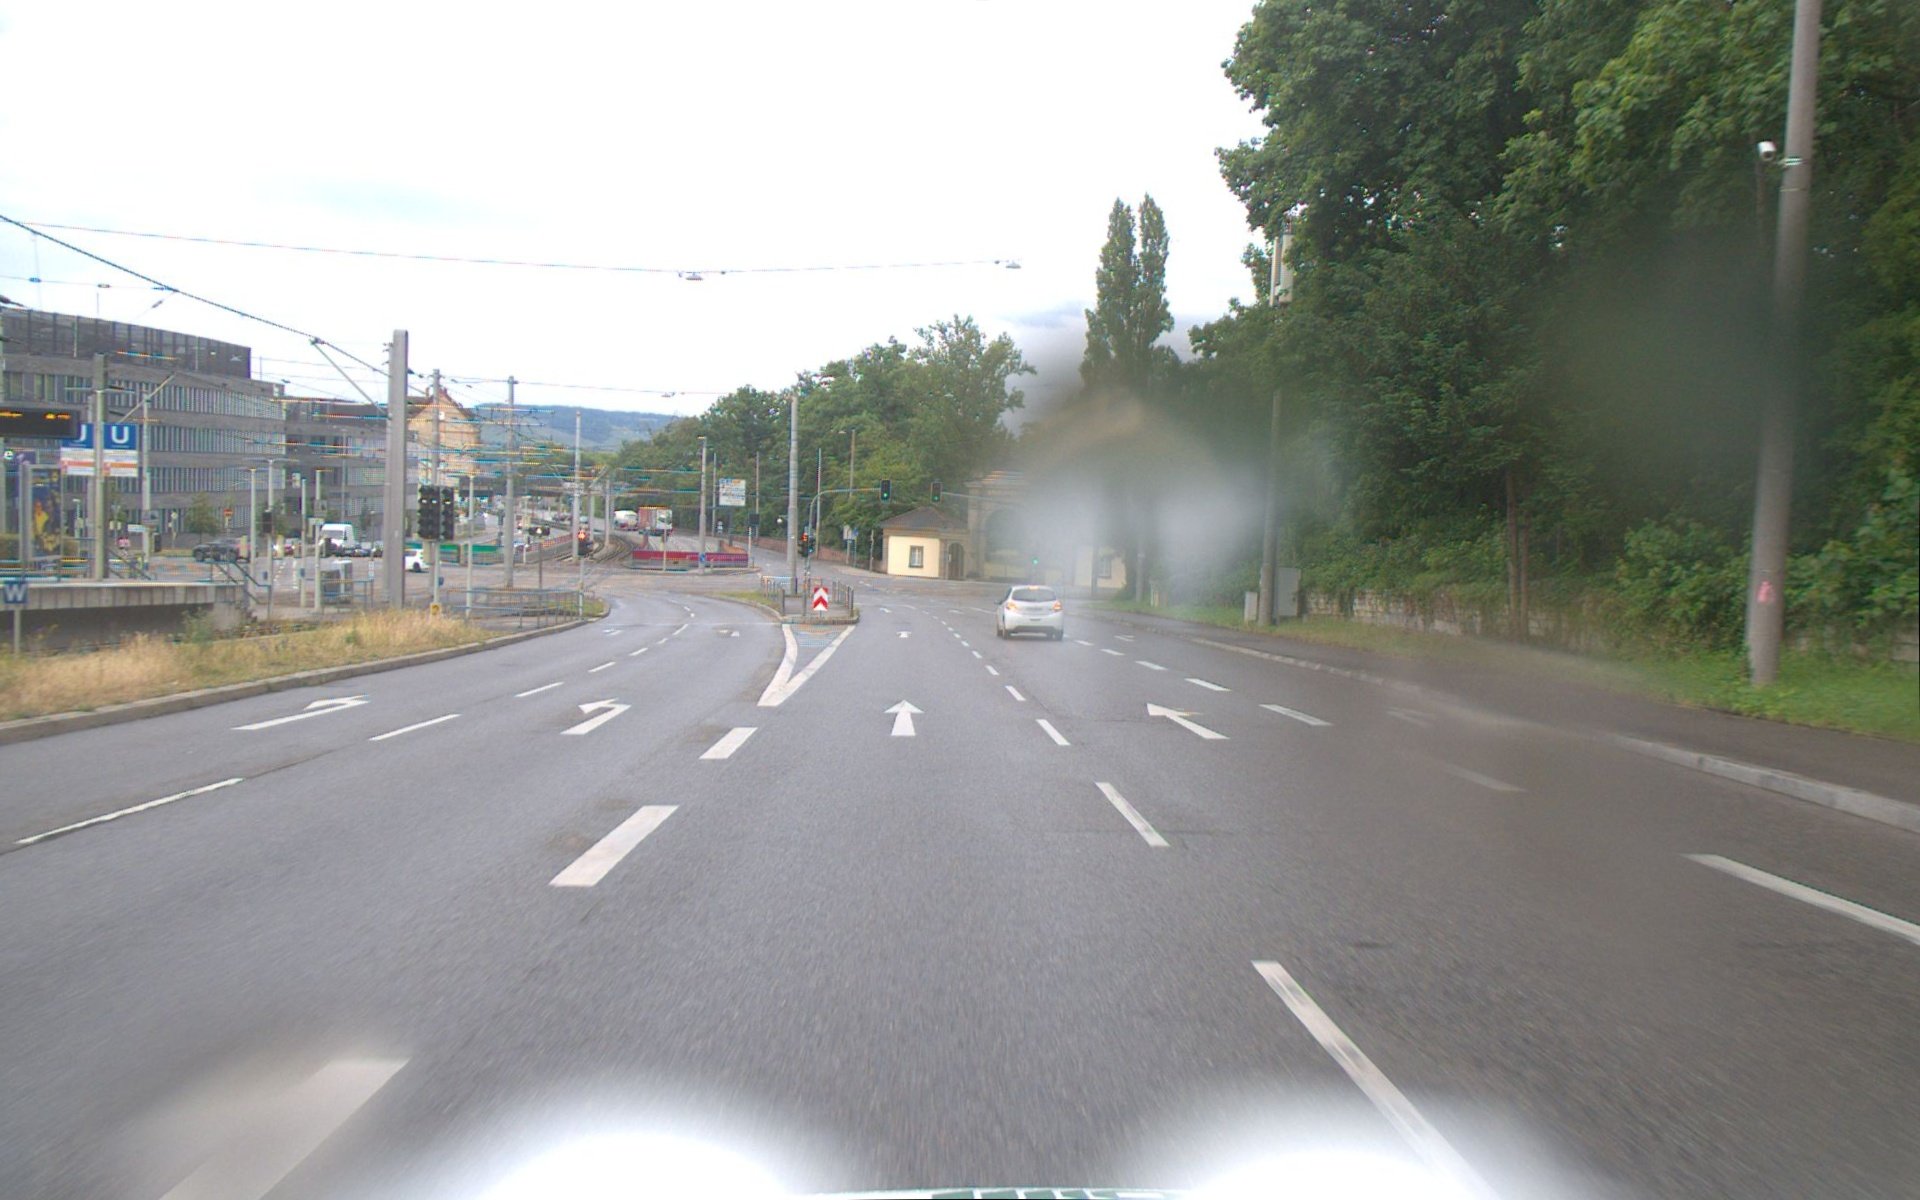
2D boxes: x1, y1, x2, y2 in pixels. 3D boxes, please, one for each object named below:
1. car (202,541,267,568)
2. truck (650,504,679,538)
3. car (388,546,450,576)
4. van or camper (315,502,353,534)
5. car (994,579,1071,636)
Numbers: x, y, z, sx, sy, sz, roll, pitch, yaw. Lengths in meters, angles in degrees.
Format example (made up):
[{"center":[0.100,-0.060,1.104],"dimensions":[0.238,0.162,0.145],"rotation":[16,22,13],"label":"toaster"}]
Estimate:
[{"center":[-50.011,-3.155,113.968],"dimensions":[3.907,1.735,1.999],"rotation":[2,1,24],"label":"car"},{"center":[-44.537,-11.866,249.203],"dimensions":[3.357,4.649,11.247],"rotation":[4,1,-14],"label":"truck"},{"center":[-34.998,-2.526,106.936],"dimensions":[3.921,1.633,1.822],"rotation":[6,3,35],"label":"car"},{"center":[-49.621,-6.464,131.186],"dimensions":[1.957,2.385,3.992],"rotation":[-1,1,-9],"label":"van or camper"},{"center":[1.996,0.184,46.516],"dimensions":[1.831,1.537,3.898],"rotation":[0,0,-3],"label":"car"}]
